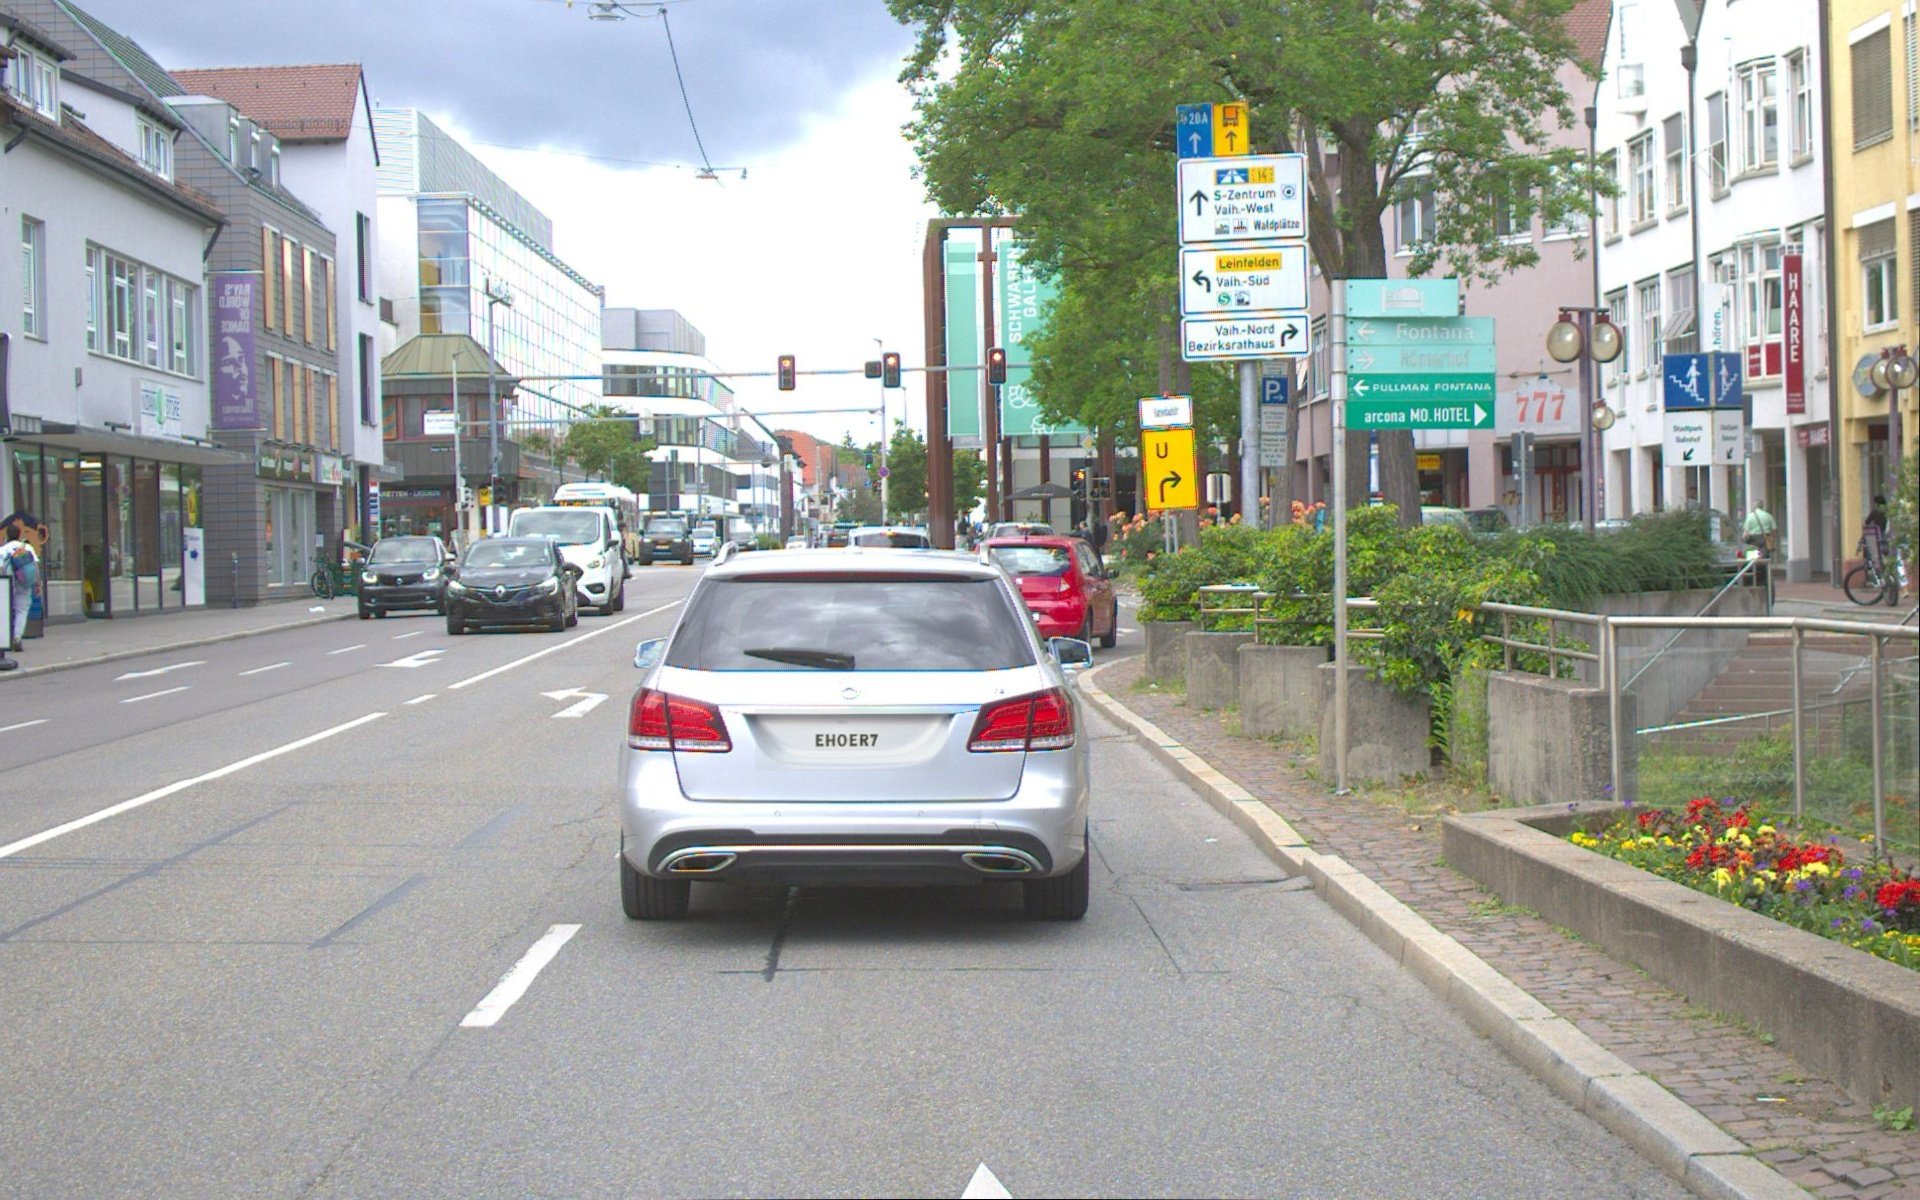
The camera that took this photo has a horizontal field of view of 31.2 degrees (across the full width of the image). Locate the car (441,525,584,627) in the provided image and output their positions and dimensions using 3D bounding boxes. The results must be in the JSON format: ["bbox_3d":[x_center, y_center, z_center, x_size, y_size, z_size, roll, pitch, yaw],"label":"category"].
[{"bbox_3d":[-6.715,-0.391,51.853,1.617,1.423,3.923,-2,1,0],"label":"car"}]

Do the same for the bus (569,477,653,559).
[{"bbox_3d":[-14.104,-3.319,139.188,2.775,3.154,5.933,-1,1,-1],"label":"bus"}]

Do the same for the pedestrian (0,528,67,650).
[{"bbox_3d":[-12.596,-0.156,46.579,0.816,1.629,0.980,1,1,-6],"label":"pedestrian"}]

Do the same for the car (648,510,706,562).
[{"bbox_3d":[-11.303,-2.557,137.601,1.993,2.007,4.000,-1,1,-1],"label":"car"}]

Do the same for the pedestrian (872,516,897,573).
[{"bbox_3d":[-2.163,-1.592,98.453,0.613,1.629,0.588,1,2,-10],"label":"pedestrian"}]

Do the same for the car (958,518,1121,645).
[{"bbox_3d":[1.047,-0.259,43.392,1.755,1.515,3.999,0,1,6],"label":"car"}]

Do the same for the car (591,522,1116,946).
[{"bbox_3d":[-0.484,0.444,14.413,1.874,1.501,4.001,-1,1,-3],"label":"car"}]

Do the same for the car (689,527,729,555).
[{"bbox_3d":[-11.524,-2.732,158.178,1.575,1.240,3.607,-1,1,-1],"label":"car"}]

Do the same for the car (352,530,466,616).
[{"bbox_3d":[-10.541,-0.536,65.932,1.617,1.518,3.508,-3,1,-1],"label":"car"}]

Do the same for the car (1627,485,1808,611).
[{"bbox_3d":[11.823,-0.826,53.880,1.866,1.858,4.000,-1,1,-1],"label":"car"}]

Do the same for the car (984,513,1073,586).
[{"bbox_3d":[1.638,-1.247,83.421,1.993,1.678,4.000,-1,1,-1],"label":"car"}]

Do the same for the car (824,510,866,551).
[{"bbox_3d":[-5.683,-3.453,170.316,1.993,2.007,4.001,-1,1,-1],"label":"car"}]

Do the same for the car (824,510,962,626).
[{"bbox_3d":[-1.018,-0.520,52.858,1.993,1.678,4.000,-1,1,-1],"label":"car"}]

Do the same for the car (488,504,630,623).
[{"bbox_3d":[-7.167,-0.679,61.912,1.961,1.954,5.140,-3,1,-1],"label":"car"}]
